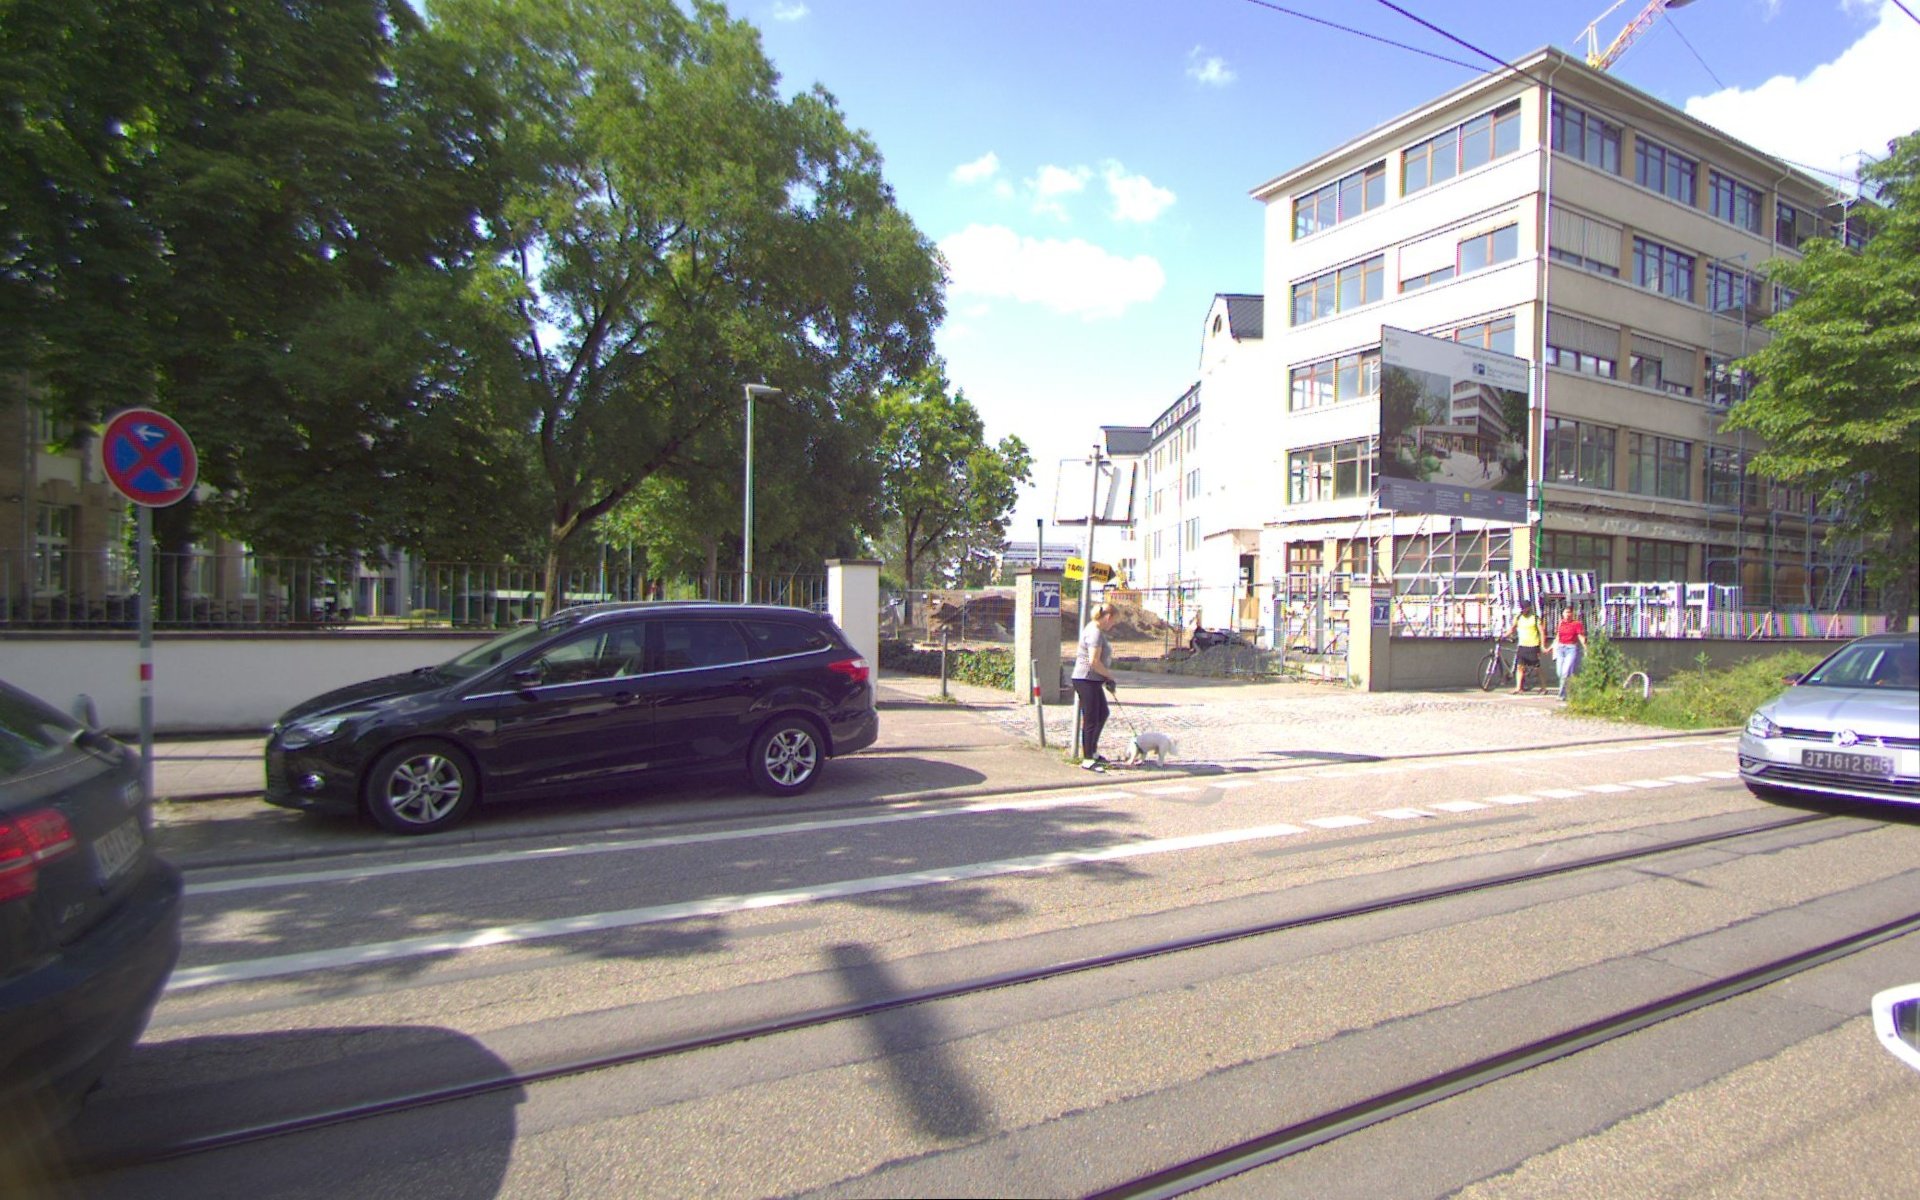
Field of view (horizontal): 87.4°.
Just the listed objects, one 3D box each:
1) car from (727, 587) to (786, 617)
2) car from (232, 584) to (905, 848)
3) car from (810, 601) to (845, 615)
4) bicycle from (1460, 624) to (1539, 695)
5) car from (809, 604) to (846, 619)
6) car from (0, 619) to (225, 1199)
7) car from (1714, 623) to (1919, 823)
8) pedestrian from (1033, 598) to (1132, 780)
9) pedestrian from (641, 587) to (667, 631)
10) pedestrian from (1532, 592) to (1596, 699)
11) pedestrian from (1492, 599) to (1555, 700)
[{"bbox_3d":[-14.345,0.117,71.007,3.925,2.040,1.998,1,0,-7],"label":"car"},{"bbox_3d":[-2.845,0.726,7.914,4.542,1.536,1.739,1,1,-33],"label":"car"},{"bbox_3d":[-14.524,0.904,110.341,3.594,1.509,1.786,1,0,0],"label":"car"},{"bbox_3d":[10.383,1.123,19.309,1.716,1.303,0.444,1,0,-28],"label":"bicycle"},{"bbox_3d":[-13.602,1.163,102.960,3.595,1.509,1.785,1,0,-3],"label":"car"},{"bbox_3d":[-3.860,0.718,1.757,3.954,1.394,1.714,2,-2,-31],"label":"car"},{"bbox_3d":[8.325,0.937,8.530,3.807,1.435,1.765,2,-2,-31],"label":"car"},{"bbox_3d":[1.197,0.825,9.769,0.714,1.659,0.691,2,1,27],"label":"pedestrian"},{"bbox_3d":[-11.809,0.346,38.774,0.751,1.642,0.594,1,0,9],"label":"pedestrian"},{"bbox_3d":[11.014,0.810,18.331,0.655,1.857,0.702,-1,4,-35],"label":"pedestrian"},{"bbox_3d":[10.566,0.909,18.850,0.655,1.817,0.702,1,3,-35],"label":"pedestrian"}]
